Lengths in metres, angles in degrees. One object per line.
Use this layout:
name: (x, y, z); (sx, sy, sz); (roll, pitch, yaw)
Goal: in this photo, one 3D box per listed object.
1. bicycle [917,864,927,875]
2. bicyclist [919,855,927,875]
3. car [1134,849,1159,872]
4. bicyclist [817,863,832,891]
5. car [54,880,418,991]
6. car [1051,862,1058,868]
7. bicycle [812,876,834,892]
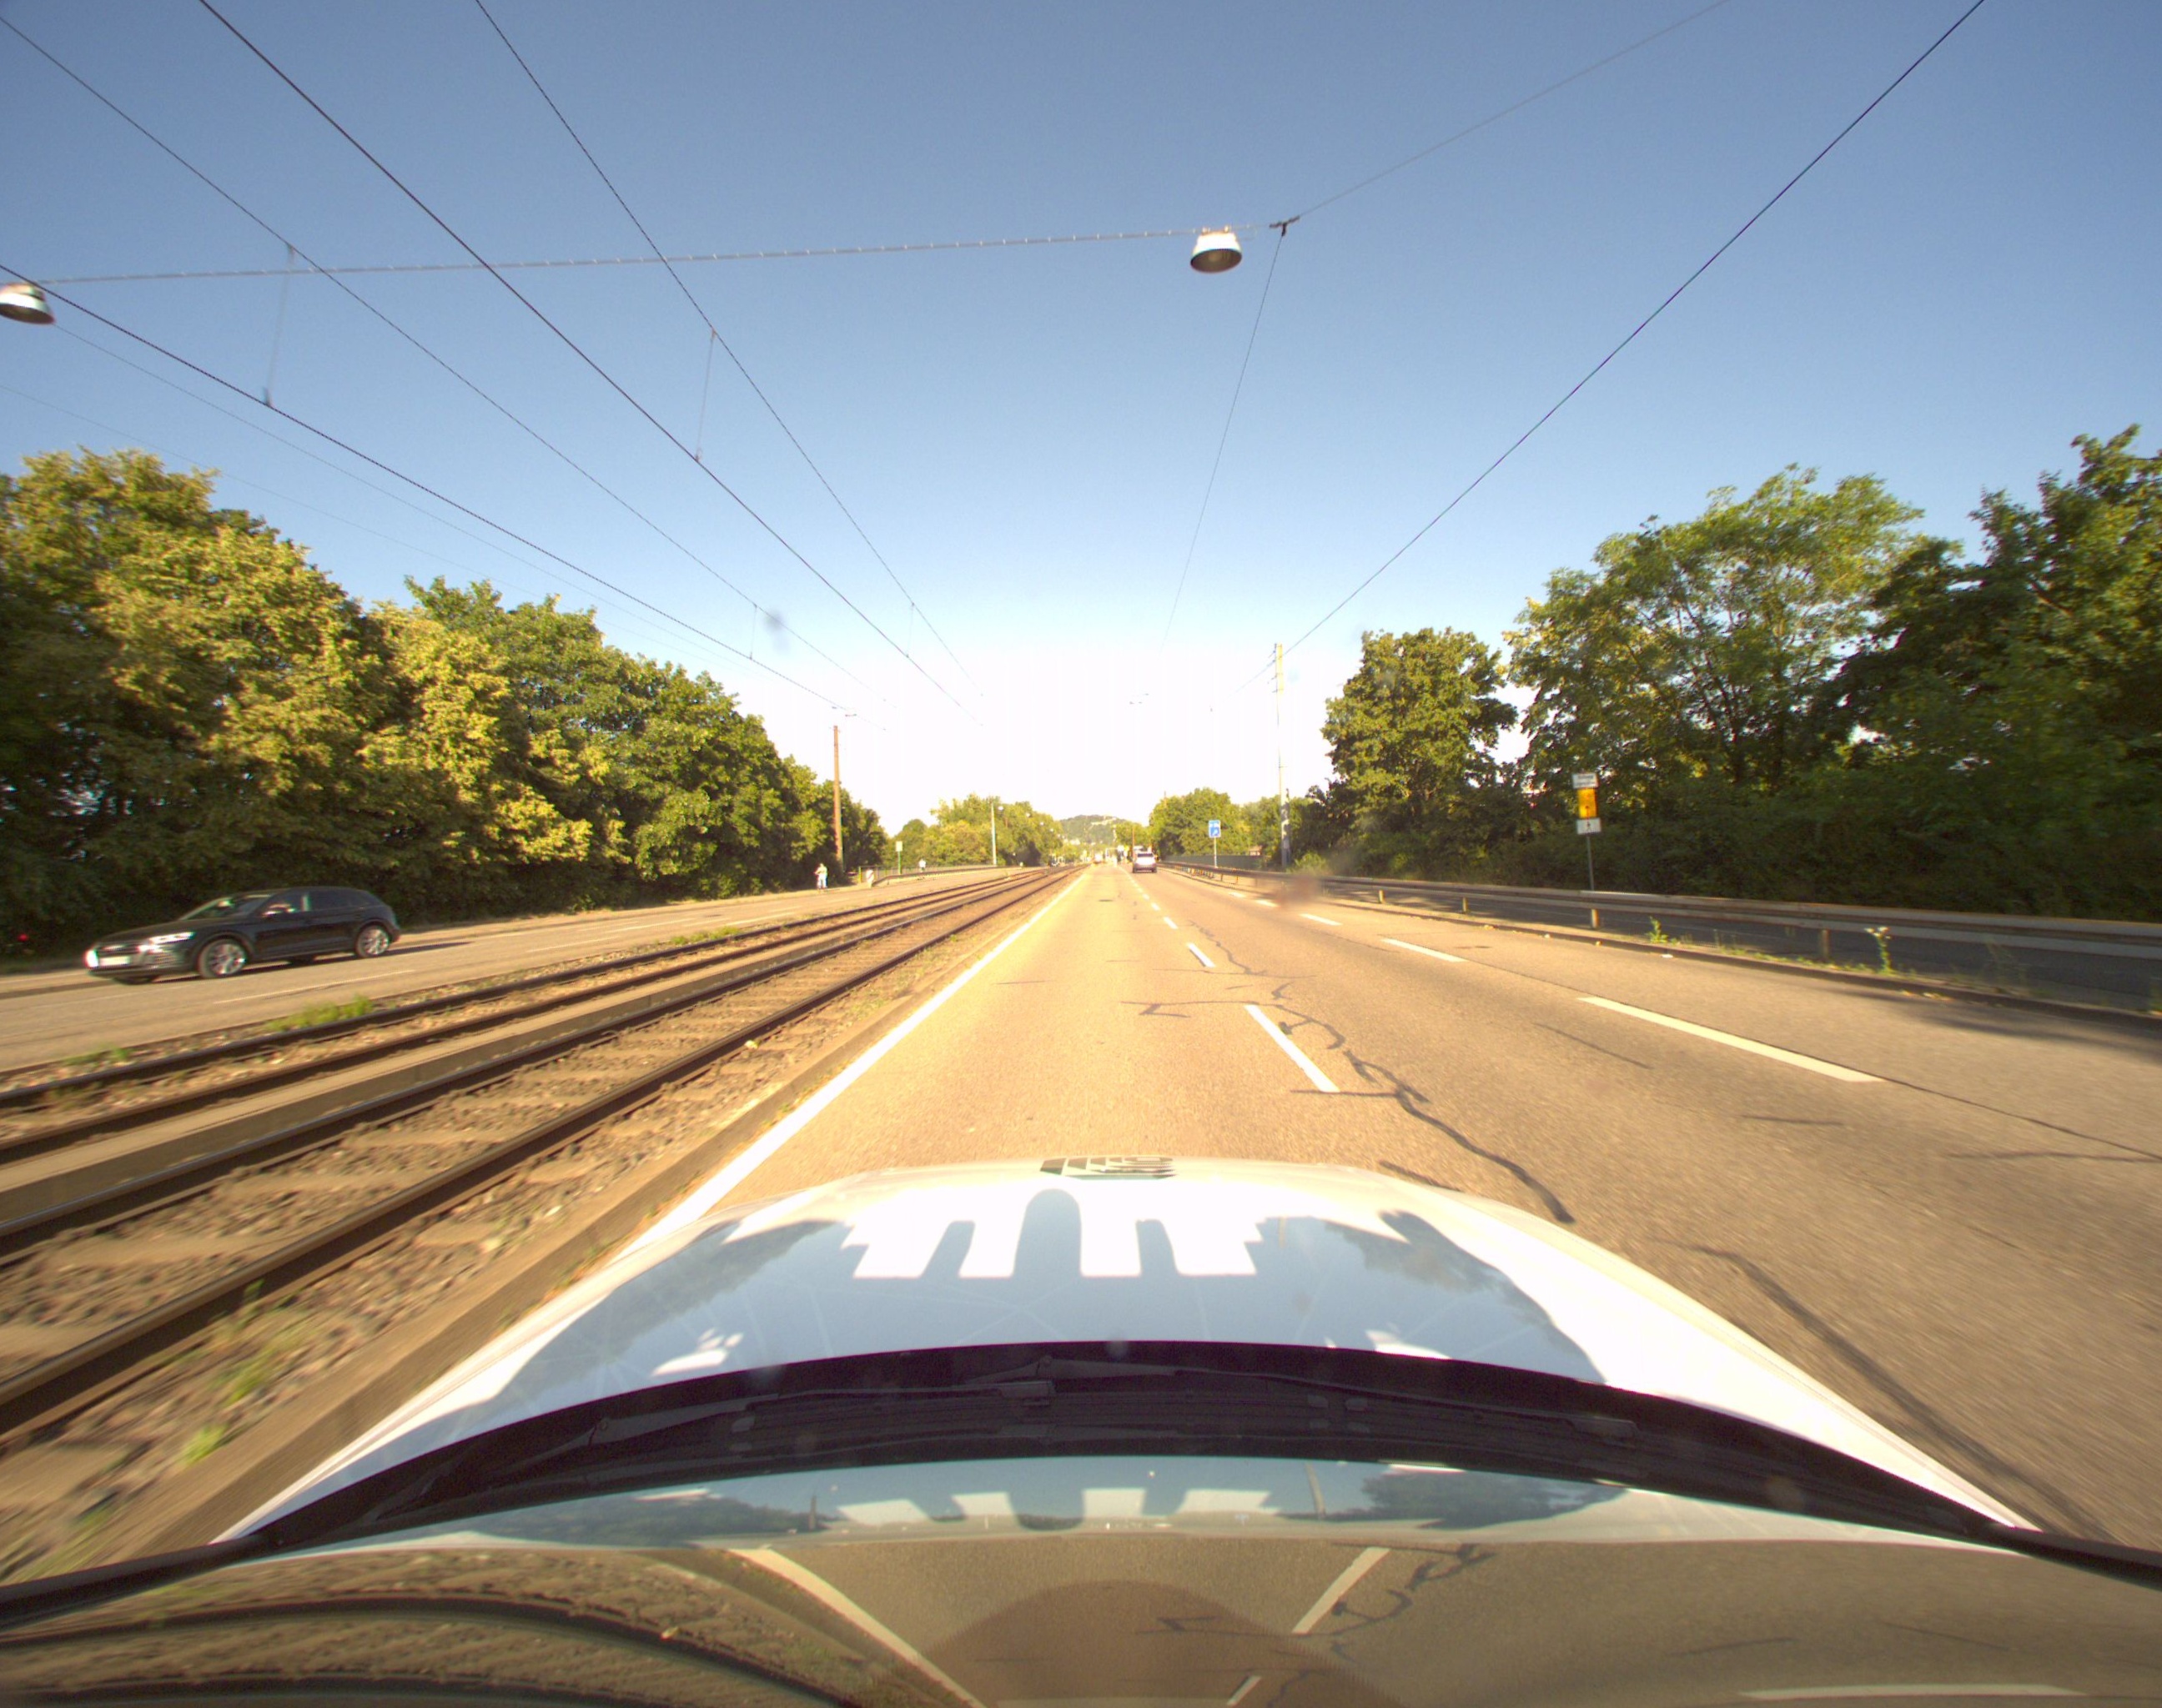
bicycle: (-15.076, 1.454, 77.371); (0.538, 1.043, 1.926); (0, 0, 2)
bicyclist: (-15.070, 1.041, 77.552); (0.538, 1.862, 0.875); (0, -1, 2)
car: (5.279, 0.521, 65.546); (1.880, 1.693, 4.261); (-1, -1, 4)
bicyclist: (-15.514, 1.390, 49.292); (0.505, 1.687, 0.920); (0, -1, 5)
car: (-16.444, 1.477, 16.343); (1.984, 1.685, 4.802); (-3, -1, 5)
car: (-8.122, 3.428, 253.611); (1.986, 1.618, 4.001); (0, 0, 2)
bicycle: (-15.538, 1.812, 49.098); (0.505, 0.892, 2.030); (0, 0, 5)
